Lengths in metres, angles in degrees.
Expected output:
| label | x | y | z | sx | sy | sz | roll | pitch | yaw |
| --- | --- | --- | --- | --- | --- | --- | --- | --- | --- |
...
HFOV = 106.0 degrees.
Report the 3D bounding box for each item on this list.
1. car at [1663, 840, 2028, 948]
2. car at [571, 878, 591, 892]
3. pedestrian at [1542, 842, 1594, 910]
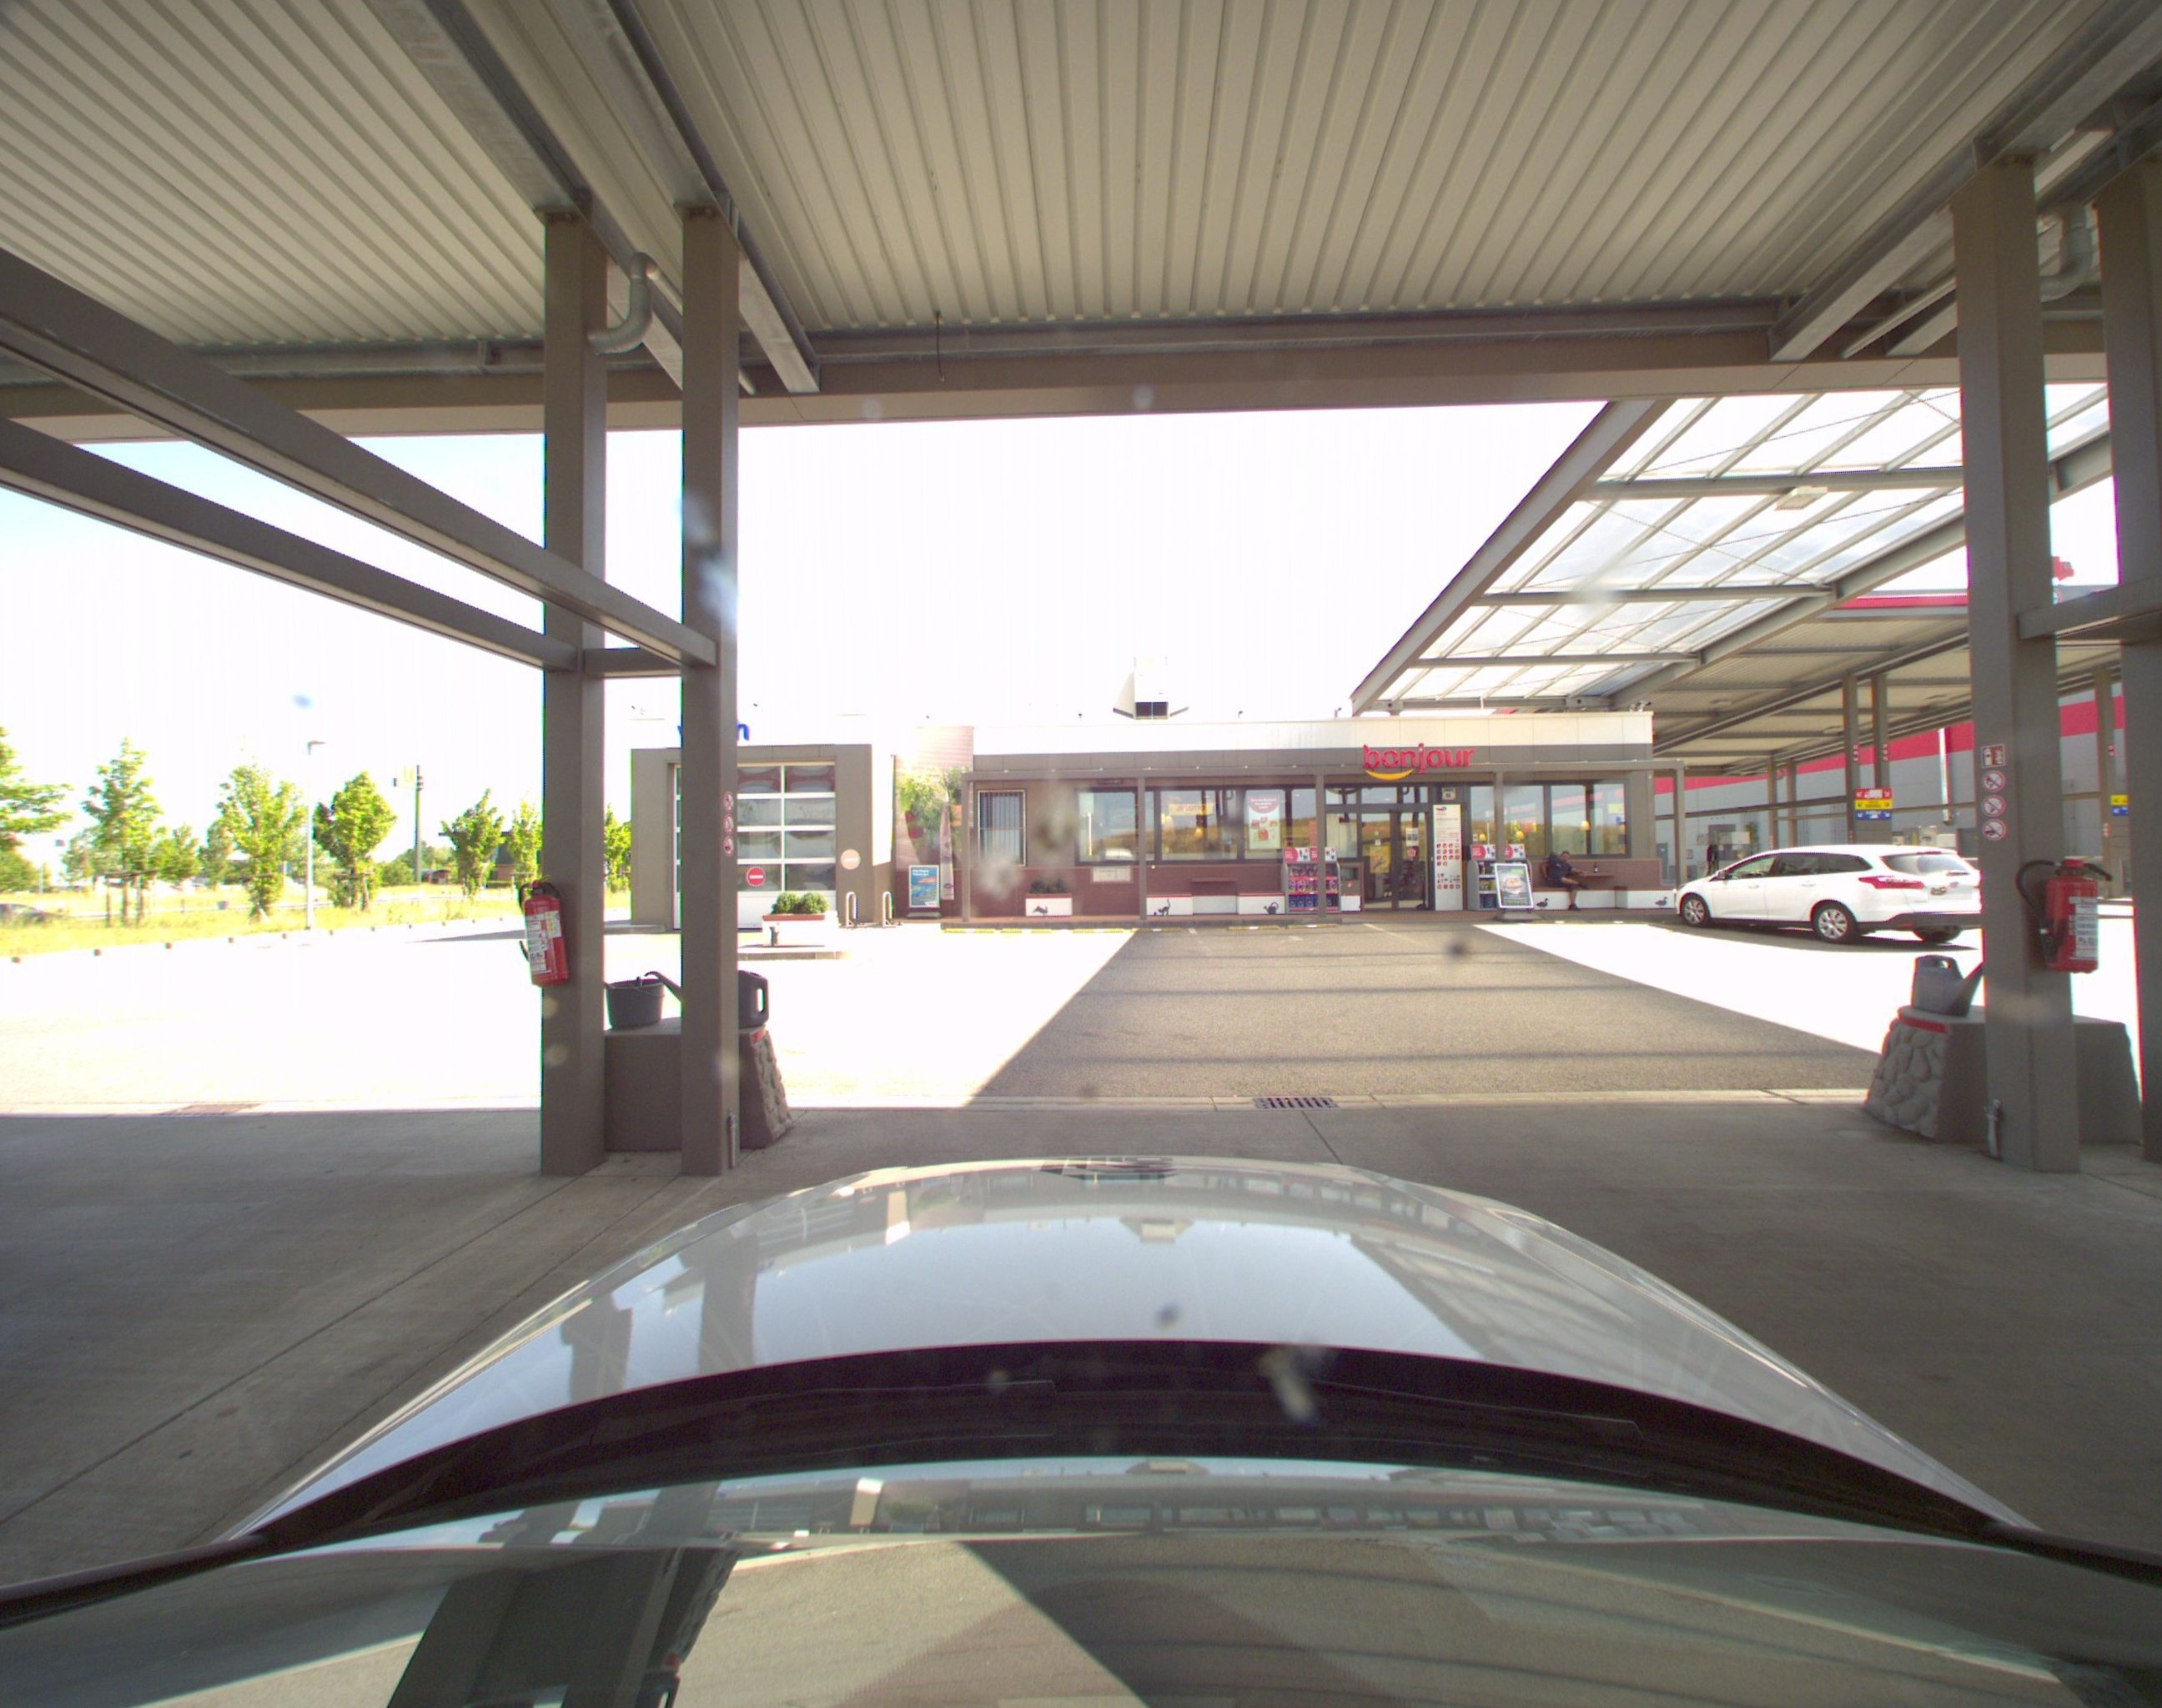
| label | x | y | z | sx | sy | sz | roll | pitch | yaw |
| --- | --- | --- | --- | --- | --- | --- | --- | --- | --- |
| car | 12.159 | 0.561 | 13.451 | 1.826 | 1.457 | 4.316 | -1 | 0 | -3 |
| car | -60.631 | 3.766 | 98.754 | 1.807 | 1.596 | 3.963 | -1 | 0 | -29 |
| pedestrian | 10.538 | 0.460 | 17.646 | 0.698 | 1.432 | 0.673 | -1 | -1 | 1 |
